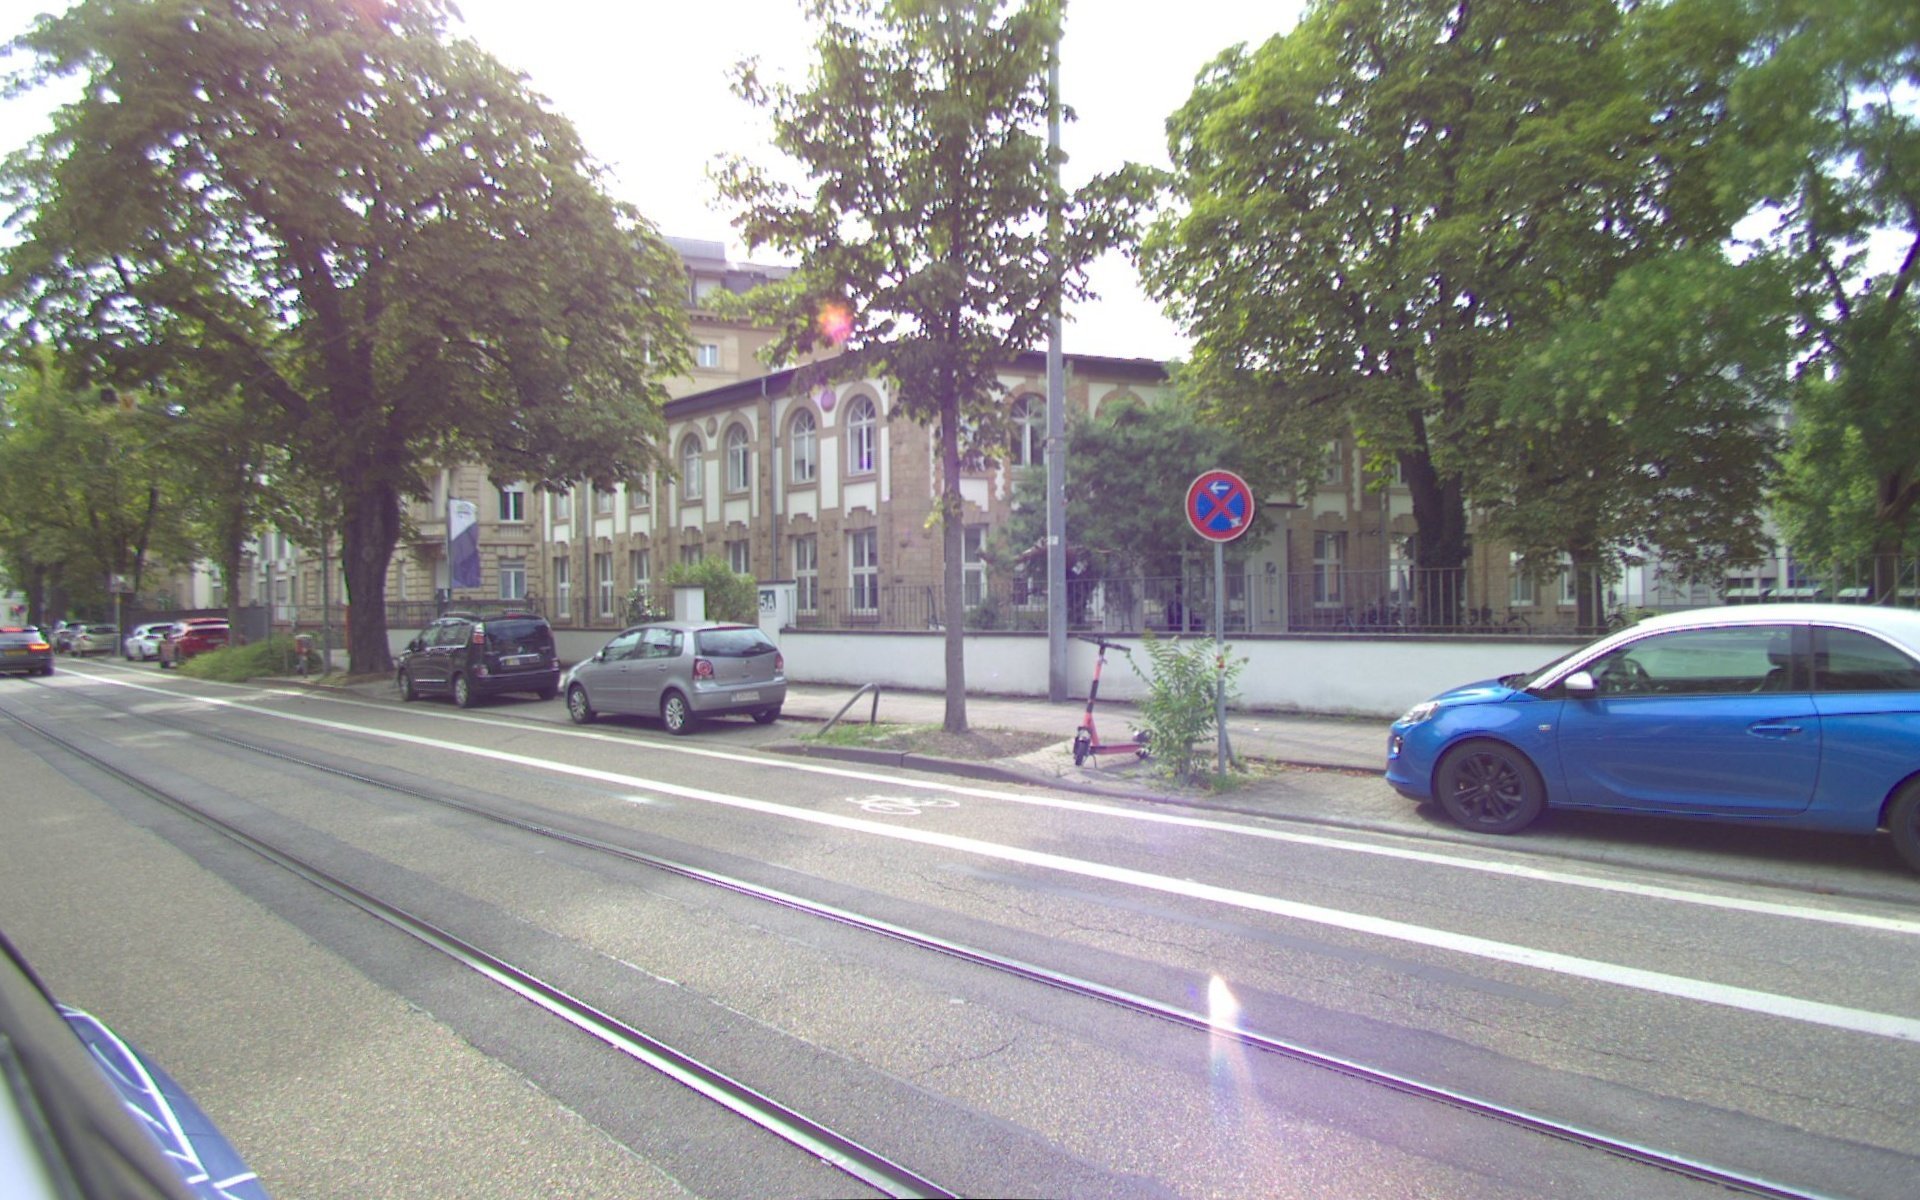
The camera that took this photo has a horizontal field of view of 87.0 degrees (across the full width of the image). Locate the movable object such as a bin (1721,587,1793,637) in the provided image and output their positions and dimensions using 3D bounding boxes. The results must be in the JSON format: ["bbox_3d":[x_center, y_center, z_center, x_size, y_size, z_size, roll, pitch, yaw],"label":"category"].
[{"bbox_3d":[23.785,0.357,30.228,1.103,1.441,1.288,0,0,-21],"label":"movable object such as a bin"}]

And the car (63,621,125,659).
[{"bbox_3d":[-40.074,1.829,46.819,3.904,1.646,1.637,-2,-1,41],"label":"car"}]

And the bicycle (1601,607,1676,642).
[{"bbox_3d":[21.839,0.773,32.600,0.584,1.051,1.984,-1,0,-23],"label":"bicycle"}]

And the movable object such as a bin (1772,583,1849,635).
[{"bbox_3d":[24.297,0.260,28.932,1.103,1.441,1.288,0,0,-21],"label":"movable object such as a bin"}]

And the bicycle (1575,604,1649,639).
[{"bbox_3d":[20.619,0.664,32.048,0.584,1.051,1.984,-1,0,-23],"label":"bicycle"}]

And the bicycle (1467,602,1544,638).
[{"bbox_3d":[16.690,0.606,30.971,1.978,1.051,0.586,-1,0,44],"label":"bicycle"}]

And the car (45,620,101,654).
[{"bbox_3d":[-45.424,1.898,51.811,3.904,1.646,1.637,-2,-1,41],"label":"car"}]

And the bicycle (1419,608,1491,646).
[{"bbox_3d":[14.477,0.780,29.667,0.584,1.051,1.984,-1,0,-23],"label":"bicycle"}]

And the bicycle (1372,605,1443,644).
[{"bbox_3d":[12.877,0.688,29.175,0.584,1.051,1.984,-1,0,-23],"label":"bicycle"}]

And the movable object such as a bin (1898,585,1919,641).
[{"bbox_3d":[25.386,0.337,26.152,1.103,1.441,1.288,0,0,-21],"label":"movable object such as a bin"}]

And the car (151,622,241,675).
[{"bbox_3d":[-25.678,1.585,33.968,3.904,1.646,1.637,-2,-1,41],"label":"car"}]

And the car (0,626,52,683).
[{"bbox_3d":[-27.648,1.533,29.139,4.142,1.526,1.763,-2,-1,41],"label":"car"}]

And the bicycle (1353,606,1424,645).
[{"bbox_3d":[12.181,0.713,28.842,0.584,1.051,1.984,-1,0,-23],"label":"bicycle"}]

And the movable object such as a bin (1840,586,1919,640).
[{"bbox_3d":[25.008,0.341,27.471,1.103,1.441,1.288,0,0,-21],"label":"movable object such as a bin"}]

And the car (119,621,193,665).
[{"bbox_3d":[-31.920,1.681,40.148,3.904,1.613,1.637,-2,-1,41],"label":"car"}]

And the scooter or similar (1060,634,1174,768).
[{"bbox_3d":[1.477,0.925,9.501,0.987,1.176,0.370,-1,-1,-24],"label":"scooter or similar"}]

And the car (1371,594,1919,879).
[{"bbox_3d":[4.779,0.728,6.536,3.600,1.476,1.611,-2,-1,41],"label":"car"}]

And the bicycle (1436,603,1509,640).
[{"bbox_3d":[15.170,0.624,30.006,0.584,1.051,1.984,-1,0,-23],"label":"bicycle"}]

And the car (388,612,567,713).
[{"bbox_3d":[-8.923,1.078,18.602,3.723,1.646,1.637,-2,-1,41],"label":"car"}]

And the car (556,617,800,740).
[{"bbox_3d":[-4.036,1.006,14.220,3.572,1.476,1.611,-2,-1,41],"label":"car"}]

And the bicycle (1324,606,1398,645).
[{"bbox_3d":[11.303,0.720,28.605,0.584,1.051,1.984,-1,0,-30],"label":"bicycle"}]
